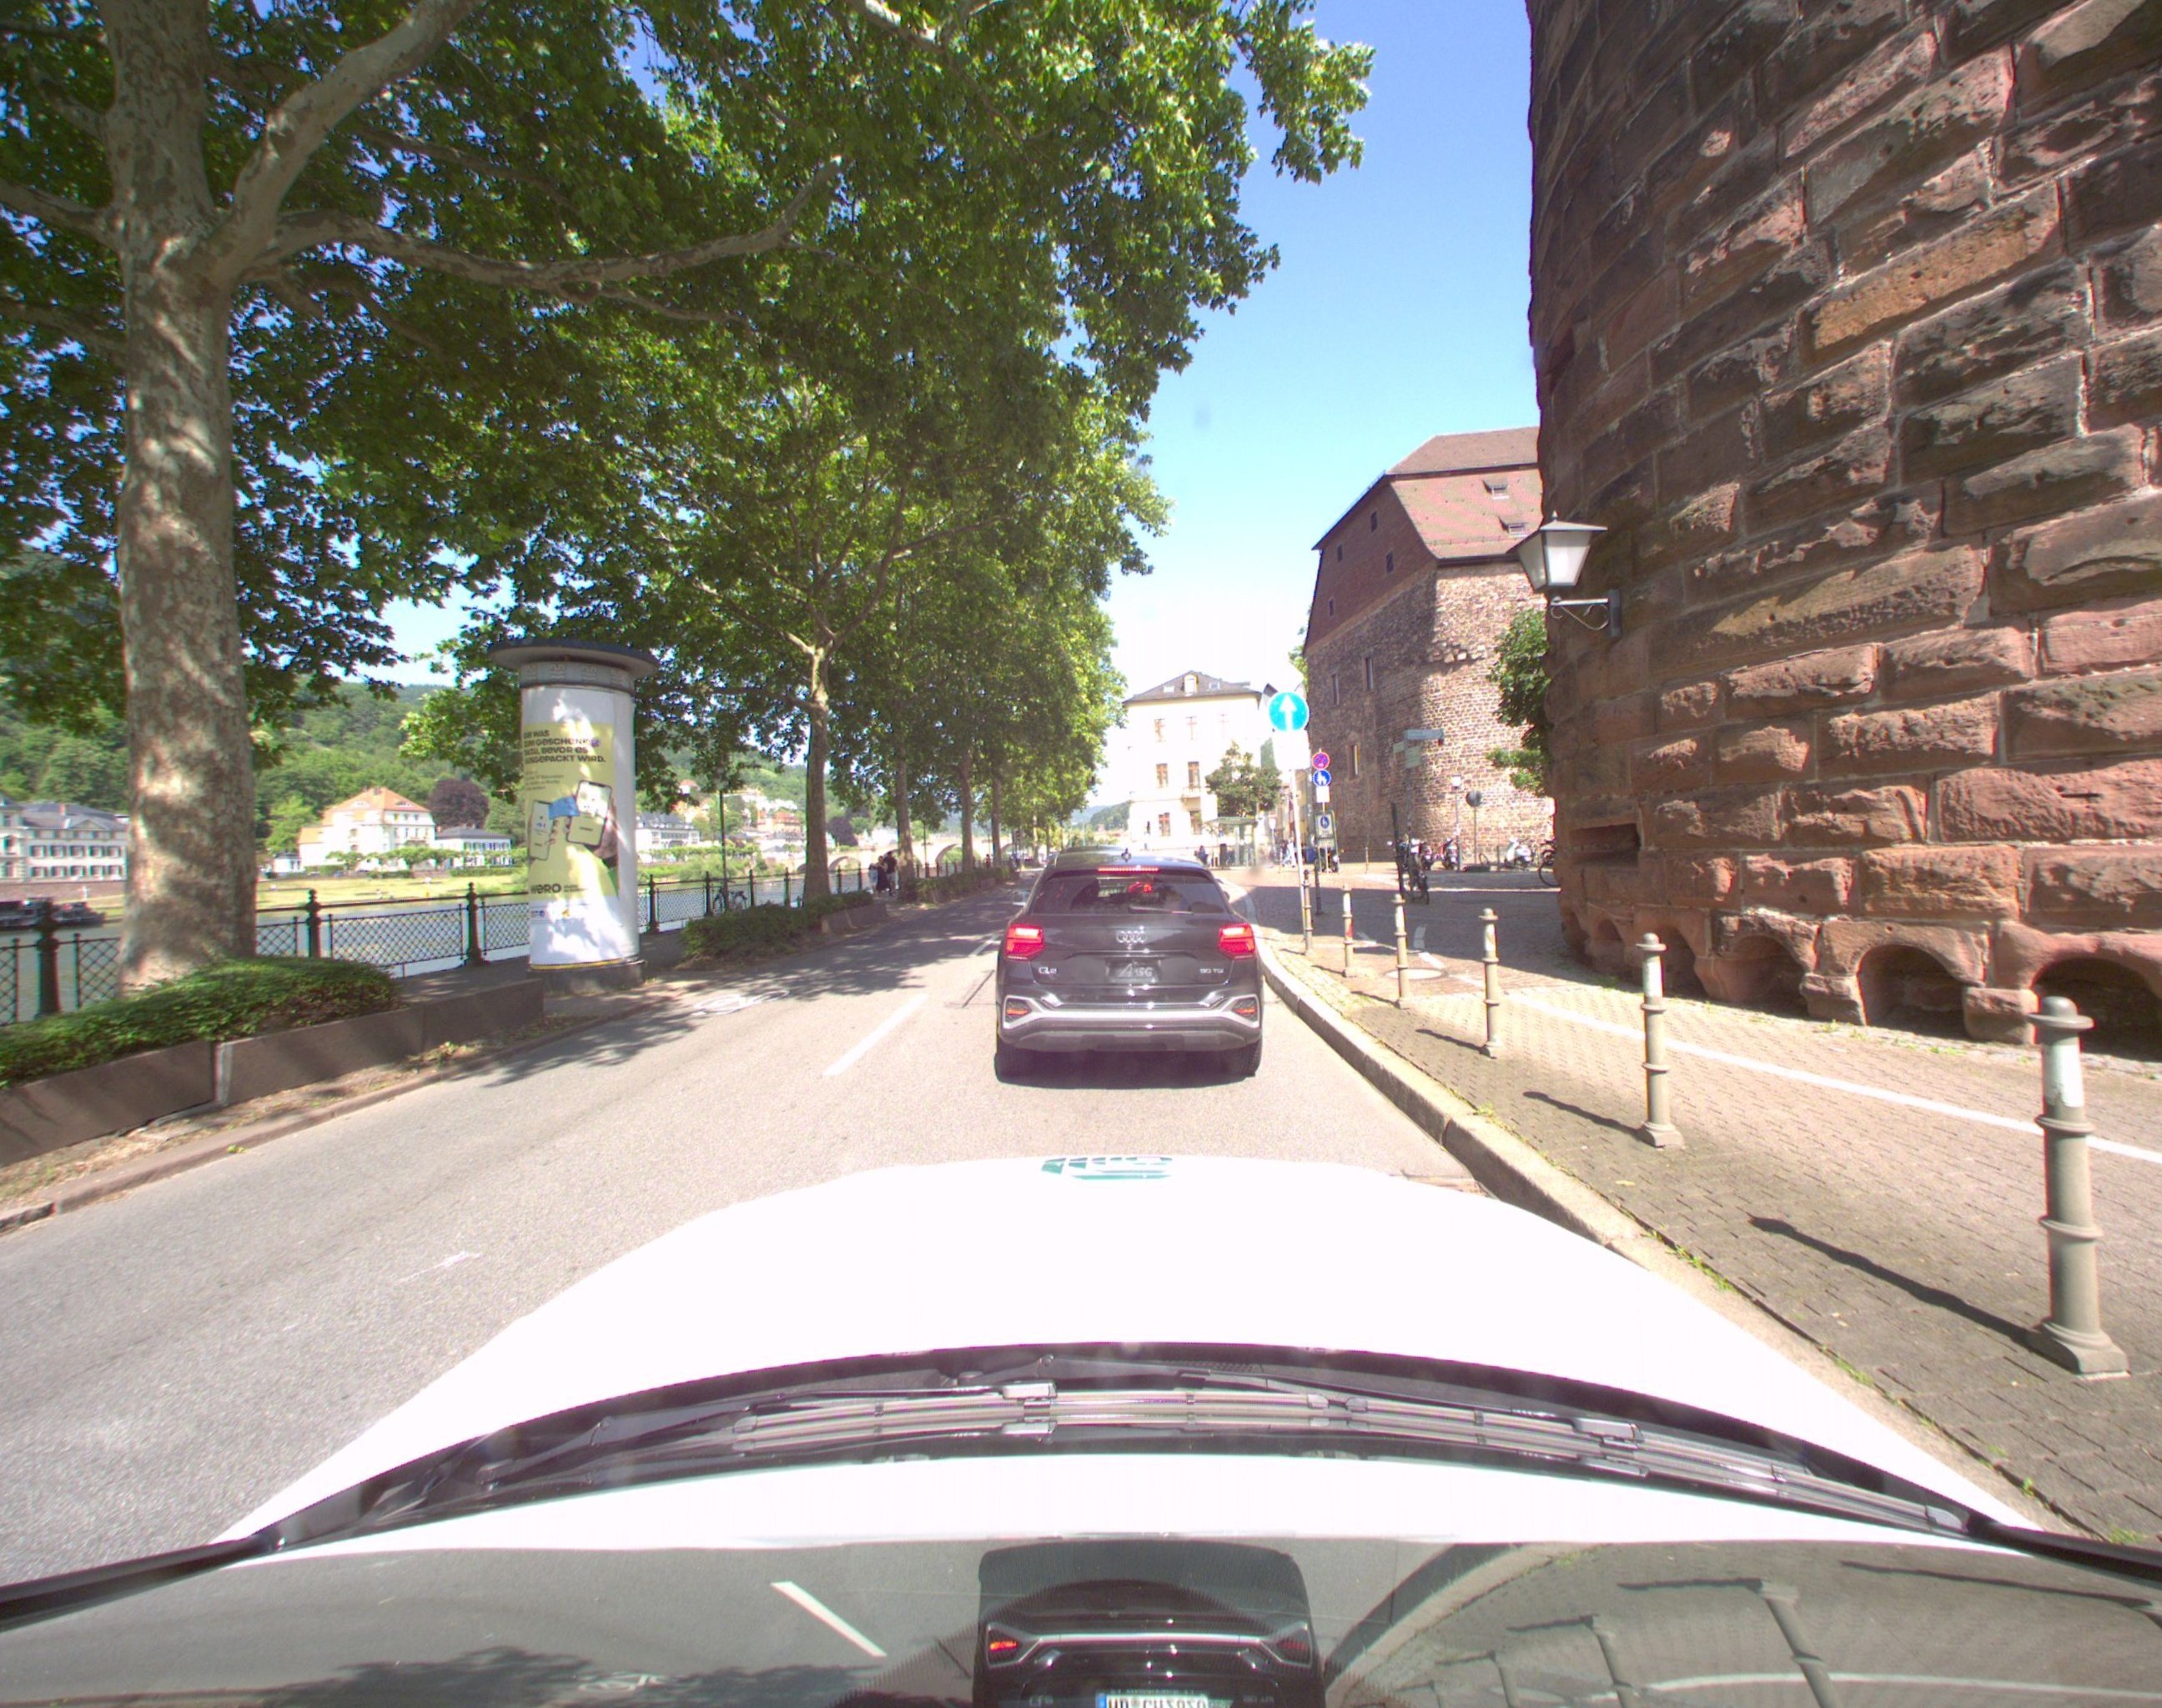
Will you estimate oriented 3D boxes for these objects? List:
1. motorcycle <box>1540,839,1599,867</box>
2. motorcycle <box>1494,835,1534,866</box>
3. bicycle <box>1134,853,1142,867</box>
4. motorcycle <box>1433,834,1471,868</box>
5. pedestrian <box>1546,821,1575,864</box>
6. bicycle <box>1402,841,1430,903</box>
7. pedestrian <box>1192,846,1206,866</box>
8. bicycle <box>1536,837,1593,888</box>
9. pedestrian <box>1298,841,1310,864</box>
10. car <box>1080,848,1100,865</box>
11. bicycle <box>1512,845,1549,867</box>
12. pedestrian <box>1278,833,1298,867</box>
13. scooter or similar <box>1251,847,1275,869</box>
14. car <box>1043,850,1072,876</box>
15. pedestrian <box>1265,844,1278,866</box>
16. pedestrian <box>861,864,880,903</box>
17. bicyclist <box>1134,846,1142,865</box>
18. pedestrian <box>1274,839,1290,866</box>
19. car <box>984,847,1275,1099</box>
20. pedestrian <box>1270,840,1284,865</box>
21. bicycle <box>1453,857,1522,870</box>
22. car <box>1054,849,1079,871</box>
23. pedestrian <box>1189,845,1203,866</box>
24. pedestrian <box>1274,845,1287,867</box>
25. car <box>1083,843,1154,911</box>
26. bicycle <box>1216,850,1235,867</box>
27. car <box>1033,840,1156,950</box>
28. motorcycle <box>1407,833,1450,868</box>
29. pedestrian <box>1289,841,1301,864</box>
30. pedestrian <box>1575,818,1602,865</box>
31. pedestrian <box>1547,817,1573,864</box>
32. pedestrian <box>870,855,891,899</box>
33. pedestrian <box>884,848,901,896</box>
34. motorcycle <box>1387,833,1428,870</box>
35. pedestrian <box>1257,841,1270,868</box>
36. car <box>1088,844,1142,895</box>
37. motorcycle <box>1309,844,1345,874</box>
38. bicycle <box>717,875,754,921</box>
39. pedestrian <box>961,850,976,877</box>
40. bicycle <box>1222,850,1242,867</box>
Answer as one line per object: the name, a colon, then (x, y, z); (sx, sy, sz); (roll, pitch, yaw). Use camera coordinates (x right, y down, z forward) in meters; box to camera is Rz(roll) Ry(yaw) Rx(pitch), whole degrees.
motorcycle: (18.394, -0.033, 30.701); (1.854, 1.054, 0.481); (-1, -1, 9)
motorcycle: (15.453, -0.109, 29.122); (0.505, 1.073, 1.841); (0, -1, 2)
bicycle: (4.372, 0.458, 62.582); (0.436, 1.086, 1.675); (0, -1, -2)
motorcycle: (13.773, -0.106, 30.310); (0.544, 1.235, 2.031); (0, -1, 2)
pedestrian: (20.353, -0.472, 34.576); (0.657, 1.802, 0.837); (-1, 0, -38)
bicycle: (6.860, 0.336, 16.714); (0.192, 1.203, 1.775); (-2, 1, 13)
pedestrian: (6.956, 0.117, 48.131); (0.662, 1.211, 0.640); (0, -1, -4)
bicycle: (11.534, 0.183, 19.491); (0.444, 1.162, 1.733); (-2, 0, 5)
pedestrian: (16.193, -0.107, 59.032); (0.685, 1.612, 0.896); (-4, 0, 19)
car: (1.057, 0.325, 90.677); (1.985, 1.806, 4.003); (0, -1, 3)
bicycle: (16.629, 0.061, 30.151); (0.352, 0.820, 1.926); (0, 1, 1)
pedestrian: (10.349, -0.197, 40.625); (0.800, 1.662, 0.660); (-3, -1, 24)
scooter or similar: (8.820, 0.191, 39.383); (1.085, 1.066, 0.323); (0, -1, -1)
car: (-1.637, 0.610, 57.390); (1.667, 1.660, 4.224); (-5, 0, 1)
pedestrian: (12.803, 0.062, 54.796); (0.637, 1.444, 0.797); (0, -1, -5)
pedestrian: (-7.573, 1.048, 29.290); (0.476, 1.362, 0.418); (-3, 0, 5)
bicyclist: (4.380, 0.095, 62.651); (0.604, 1.450, 0.590); (0, -1, -3)
pedestrian: (14.607, -0.134, 59.275); (0.756, 1.890, 0.741); (-3, 0, -42)
car: (0.349, 0.701, 6.705); (1.736, 1.509, 3.649); (0, 0, 2)
pedestrian: (15.859, -0.089, 65.838); (0.937, 2.014, 0.807); (0, -1, 0)
bicycle: (13.599, 0.305, 27.293); (1.914, 0.381, 0.921); (-2, -1, 16)
car: (-1.220, 0.509, 69.479); (1.762, 1.660, 4.002); (-6, 0, 2)
pedestrian: (6.910, 0.099, 48.891); (0.662, 1.231, 0.640); (0, -1, -4)
pedestrian: (18.118, 0.189, 73.933); (0.941, 2.014, 0.808); (0, -1, 2)
car: (0.971, 0.560, 21.678); (1.704, 1.609, 3.656); (-1, 0, 2)
bicycle: (8.816, 0.262, 49.564); (1.187, 1.016, 0.178); (0, -1, -17)
car: (0.258, 0.592, 13.586); (1.786, 1.595, 3.400); (0, 0, 2)
motorcycle: (12.791, -0.121, 30.065); (0.672, 1.235, 2.313); (0, -1, 2)
pedestrian: (15.463, -0.086, 58.908); (0.605, 1.619, 0.711); (-4, -1, 1)
pedestrian: (20.654, -0.513, 33.152); (0.811, 1.884, 0.674); (-1, -1, 43)
pedestrian: (20.820, -0.593, 35.428); (0.867, 2.014, 0.737); (-1, -1, 25)
pedestrian: (-7.862, 0.898, 31.901); (0.599, 1.685, 0.583); (-2, 0, 0)
pedestrian: (-7.535, 0.717, 32.556); (0.532, 1.887, 0.437); (0, 0, 1)
motorcycle: (11.927, -0.083, 29.837); (0.653, 1.266, 2.201); (-2, -1, 2)
pedestrian: (9.524, 0.012, 42.507); (0.555, 1.385, 0.588); (0, -1, 4)
car: (1.215, 0.504, 29.257); (1.788, 1.682, 4.002); (-1, 0, 2)
motorcycle: (9.057, 0.170, 30.062); (0.564, 1.012, 2.490); (-2, 0, 1)
bicycle: (-8.888, 1.122, 20.970); (0.358, 1.091, 1.296); (1, 0, 1)
pedestrian: (-7.617, 0.645, 55.322); (0.906, 1.811, 0.586); (0, -3, 6)
bicycle: (9.082, 0.263, 48.942); (1.205, 1.035, 0.178); (0, -1, -17)
